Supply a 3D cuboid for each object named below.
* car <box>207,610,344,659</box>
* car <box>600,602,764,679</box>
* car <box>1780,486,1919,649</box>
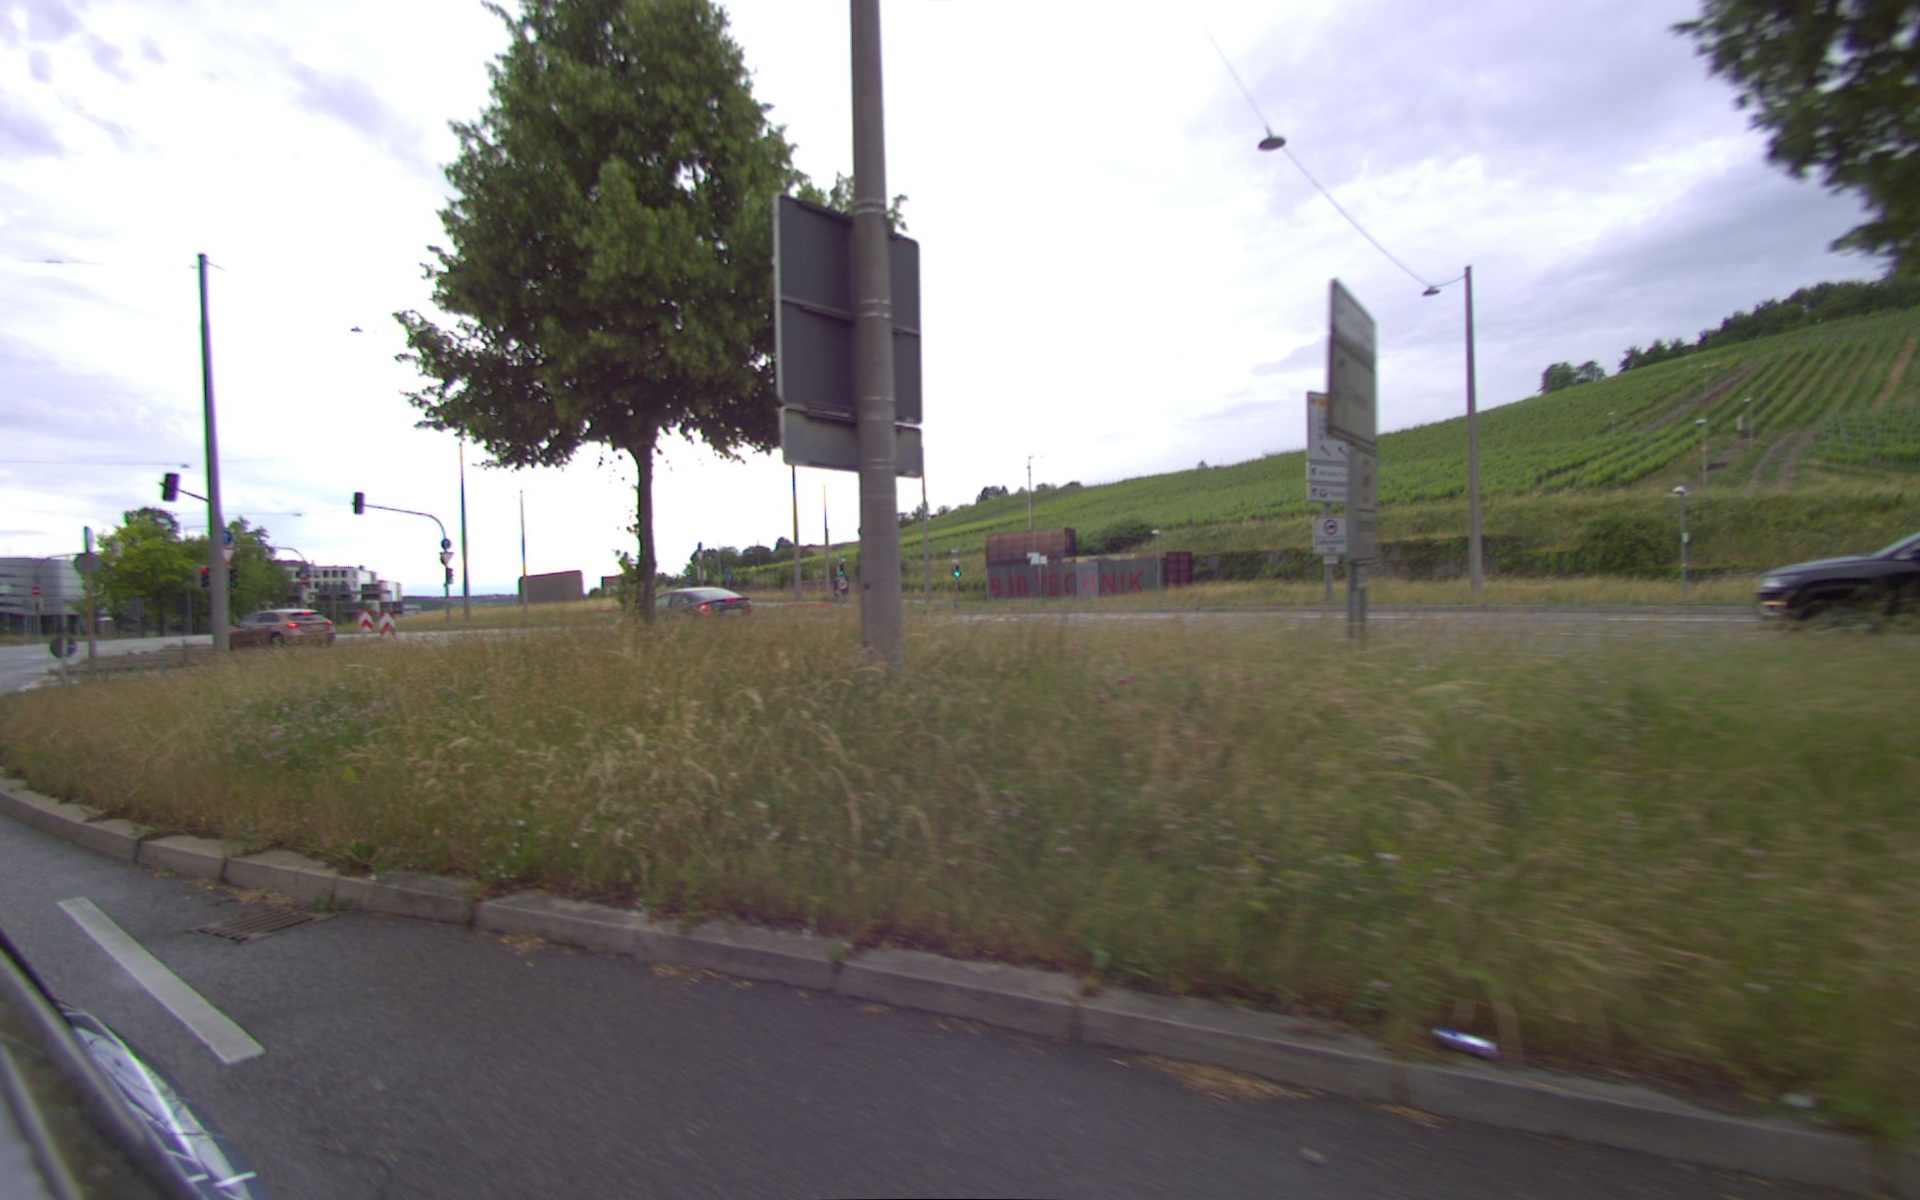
[{"bbox_3d":[-23.500,1.190,34.752,4.311,1.472,1.727,-2,1,22],"label":"car"},{"bbox_3d":[-6.920,0.950,24.948,4.357,1.666,1.858,-1,1,43],"label":"car"},{"bbox_3d":[11.640,-0.393,11.051,4.002,1.763,1.747,-1,1,45],"label":"car"}]
